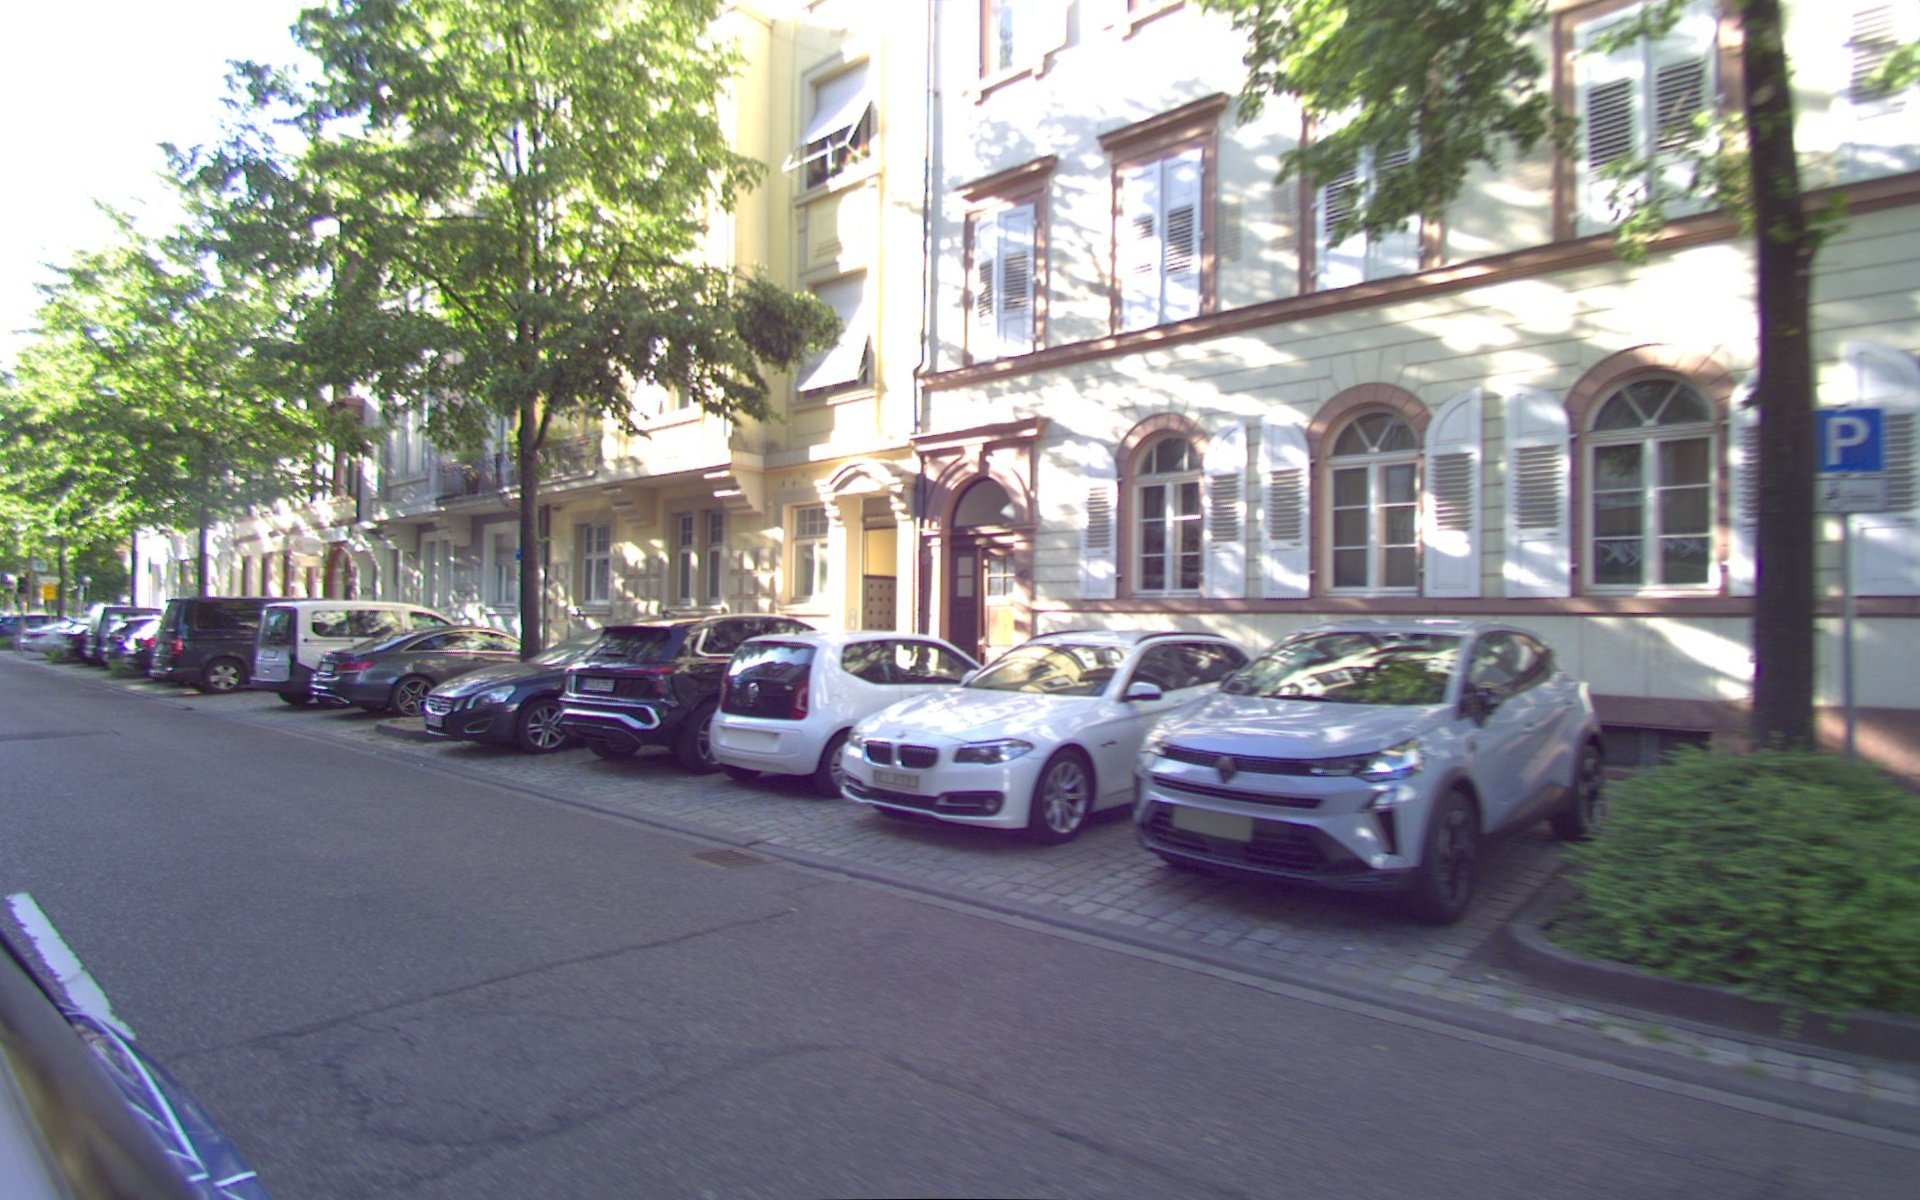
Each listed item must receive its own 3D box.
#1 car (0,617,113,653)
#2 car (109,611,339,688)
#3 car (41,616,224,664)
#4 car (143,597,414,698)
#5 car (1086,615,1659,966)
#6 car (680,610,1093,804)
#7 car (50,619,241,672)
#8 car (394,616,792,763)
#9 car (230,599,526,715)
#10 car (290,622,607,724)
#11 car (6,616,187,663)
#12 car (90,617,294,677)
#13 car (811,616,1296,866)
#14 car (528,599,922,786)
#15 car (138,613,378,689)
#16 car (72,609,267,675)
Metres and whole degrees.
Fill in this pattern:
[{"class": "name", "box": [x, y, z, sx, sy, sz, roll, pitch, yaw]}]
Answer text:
[{"class": "car", "box": [-40.609, 1.525, 45.018, 1.944, 1.556, 4.292, -1, -1, 43]}, {"class": "car", "box": [-18.269, 1.177, 25.289, 1.914, 1.746, 4.296, -1, -1, 39]}, {"class": "car", "box": [-29.017, 1.374, 35.633, 1.996, 1.503, 4.657, -2, -1, 36]}, {"class": "car", "box": [-14.532, 0.951, 21.783, 1.930, 1.941, 4.523, -1, -2, 43]}, {"class": "car", "box": [2.980, 0.889, 6.736, 4.414, 1.552, 1.918, 1, -2, -44]}, {"class": "car", "box": [-0.553, 0.918, 10.537, 1.808, 1.594, 4.294, -1, -1, 41]}, {"class": "car", "box": [-25.669, 1.384, 32.048, 1.956, 1.556, 4.310, 0, -1, 29]}, {"class": "car", "box": [-4.507, 0.987, 12.960, 1.917, 1.552, 4.417, -1, -1, 43]}, {"class": "car", "box": [-10.488, 0.959, 18.564, 1.911, 1.848, 4.304, -1, -1, 33]}, {"class": "car", "box": [-8.334, 1.104, 16.783, 1.916, 1.450, 4.293, -1, -1, 42]}, {"class": "car", "box": [-31.064, 1.362, 36.538, 1.996, 1.503, 4.657, 1, 0, 36]}, {"class": "car", "box": [-21.754, 1.283, 28.803, 1.915, 1.556, 4.295, -1, -1, 40]}, {"class": "car", "box": [1.046, 0.922, 8.625, 1.916, 1.552, 4.419, -1, -1, 41]}, {"class": "car", "box": [-2.464, 0.893, 11.673, 1.911, 1.722, 4.303, -1, -1, 34]}, {"class": "car", "box": [-16.399, 1.128, 23.830, 1.914, 1.607, 4.296, -1, -1, 39]}, {"class": "car", "box": [-23.770, 1.218, 30.583, 1.926, 1.838, 4.300, -1, -1, 36]}]
